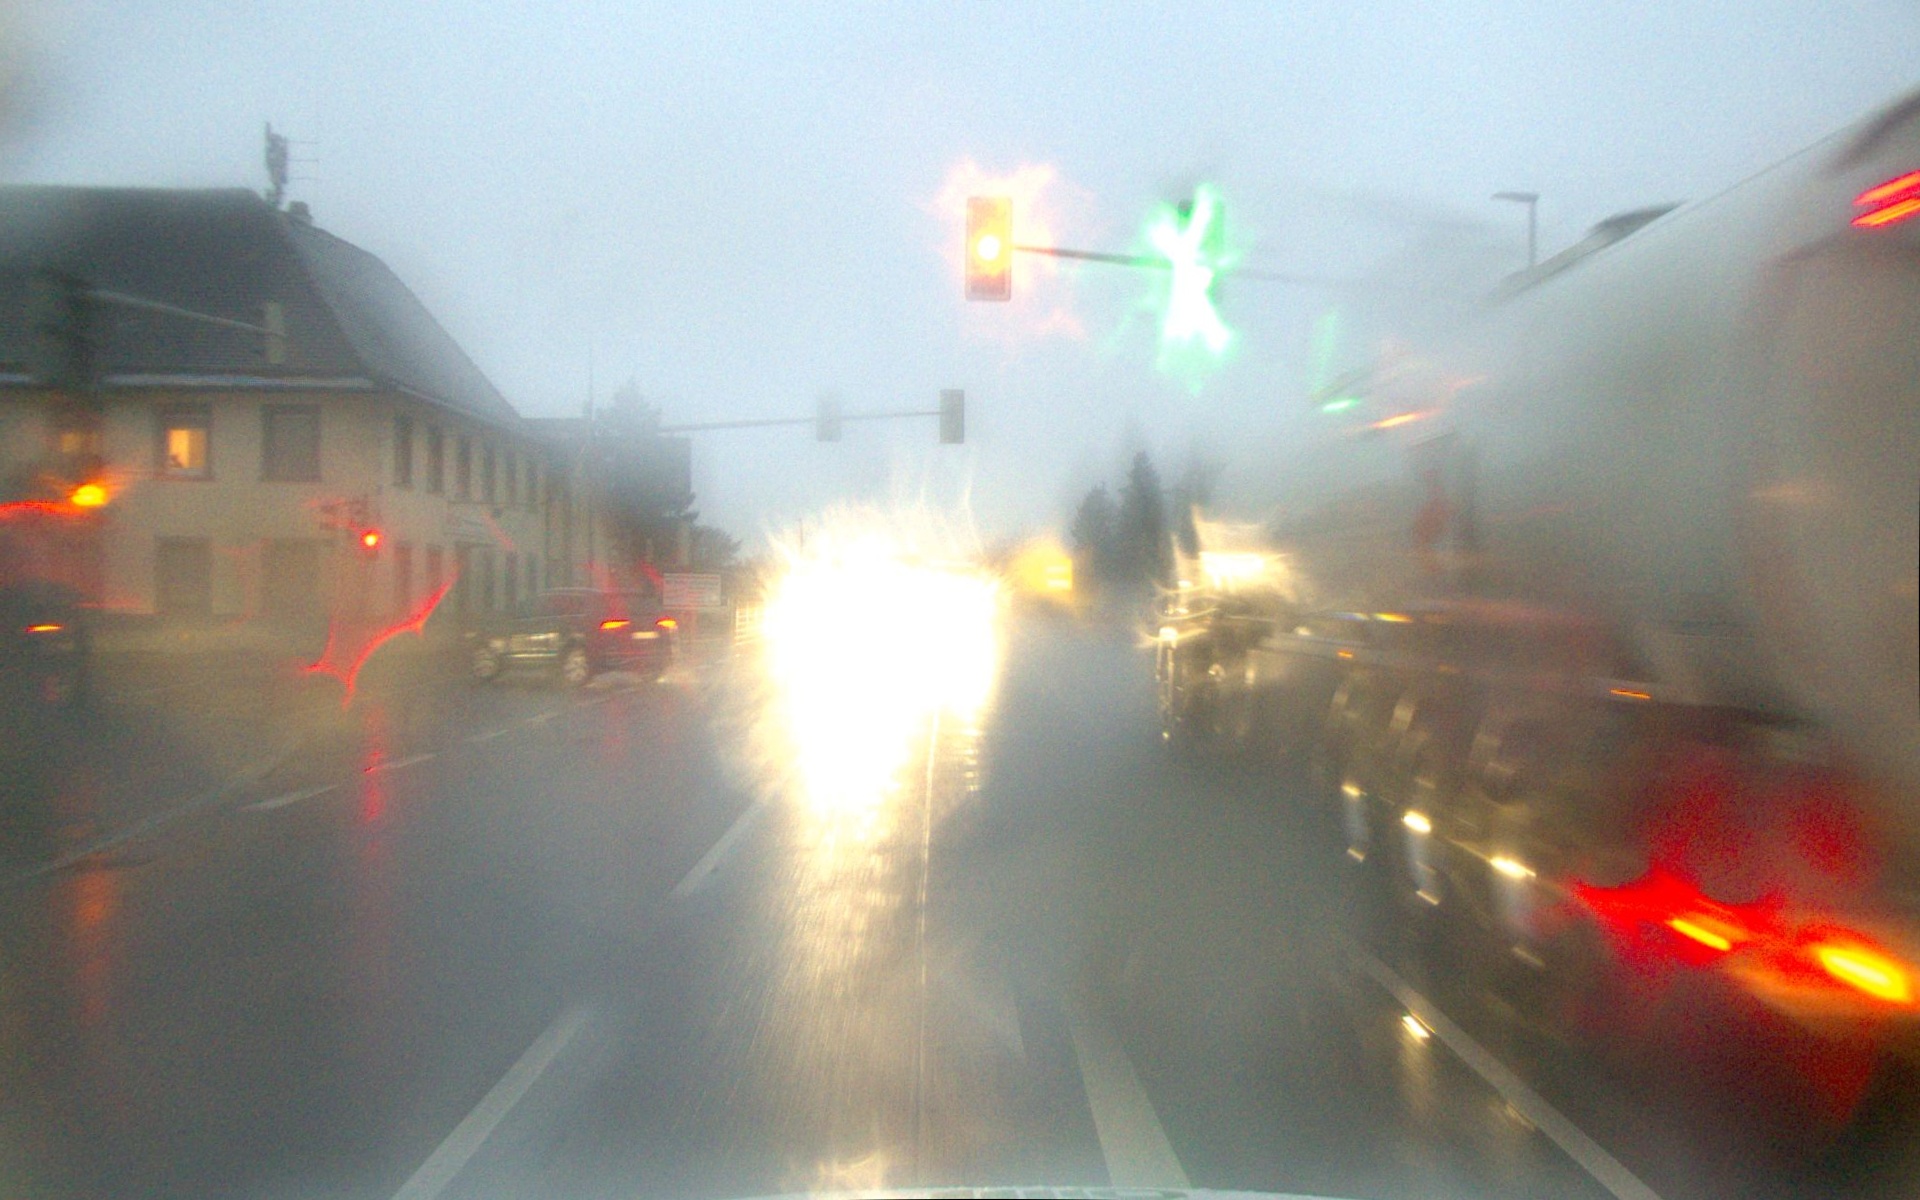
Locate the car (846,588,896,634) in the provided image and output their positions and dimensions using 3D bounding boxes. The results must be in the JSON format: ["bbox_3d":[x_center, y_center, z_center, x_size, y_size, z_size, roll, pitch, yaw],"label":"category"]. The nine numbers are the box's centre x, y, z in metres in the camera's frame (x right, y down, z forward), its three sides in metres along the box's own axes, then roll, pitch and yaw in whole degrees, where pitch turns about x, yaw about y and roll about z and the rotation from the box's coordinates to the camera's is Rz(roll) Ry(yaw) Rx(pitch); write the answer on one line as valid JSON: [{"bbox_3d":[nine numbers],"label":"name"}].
[{"bbox_3d":[-3.597,0.455,67.226,1.685,1.753,3.929,-1,-1,2],"label":"car"}]

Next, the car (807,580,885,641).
[{"bbox_3d":[-3.499,0.302,51.460,1.952,1.777,4.001,-1,0,2],"label":"car"}]

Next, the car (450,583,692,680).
[{"bbox_3d":[-7.051,0.521,29.710,4.621,1.600,2.041,0,0,43],"label":"car"}]

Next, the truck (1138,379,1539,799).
[{"bbox_3d":[3.338,-0.096,16.224,2.411,3.286,6.272,1,0,0],"label":"truck"}]

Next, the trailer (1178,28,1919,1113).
[{"bbox_3d":[3.358,-0.095,10.493,2.437,3.297,10.868,1,0,0],"label":"trailer"}]

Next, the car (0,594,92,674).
[{"bbox_3d":[-19.454,0.654,33.269,3.155,1.534,1.547,1,0,-7],"label":"car"}]

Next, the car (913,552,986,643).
[{"bbox_3d":[-0.408,-0.090,58.407,2.352,2.943,6.248,2,0,-1],"label":"car"}]

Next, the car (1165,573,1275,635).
[{"bbox_3d":[13.108,0.188,83.533,5.153,2.920,1.774,-2,0,-8],"label":"car"}]
